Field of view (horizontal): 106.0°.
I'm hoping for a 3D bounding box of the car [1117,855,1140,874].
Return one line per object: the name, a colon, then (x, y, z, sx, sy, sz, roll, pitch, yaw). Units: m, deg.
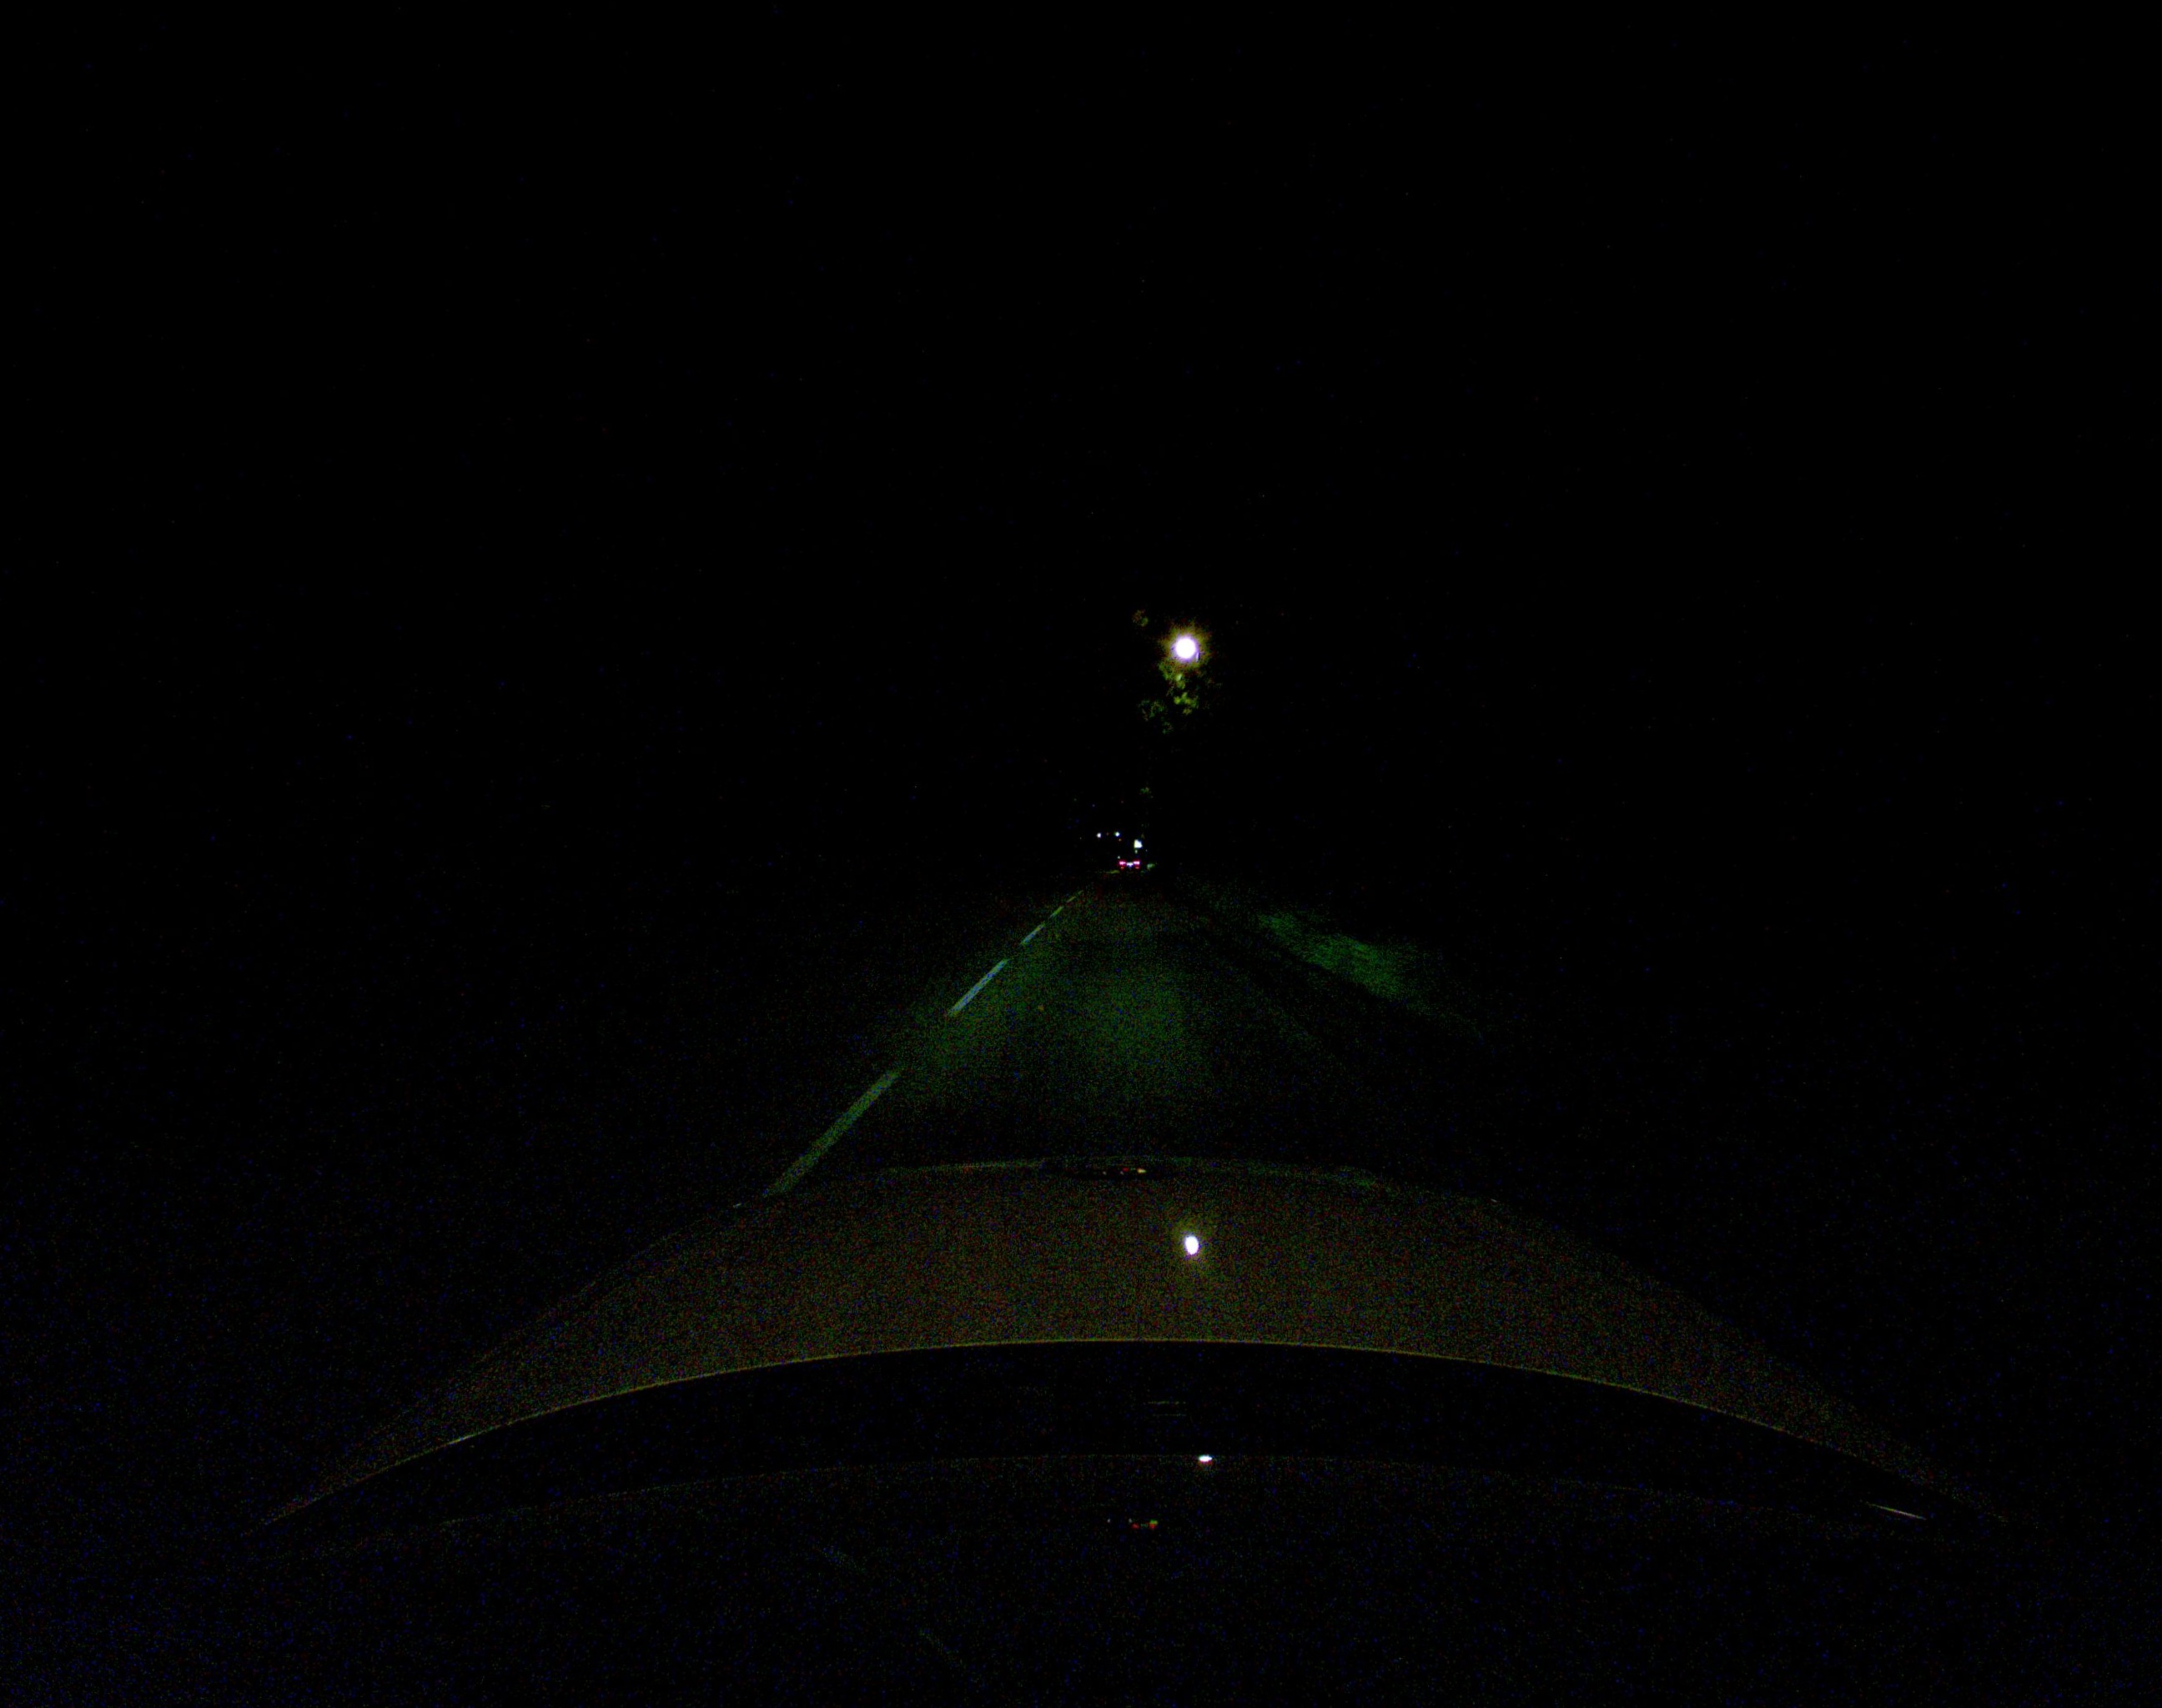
car: (4.221, 0.918, 72.783, 1.758, 1.642, 3.721, -1, 0, -1)
